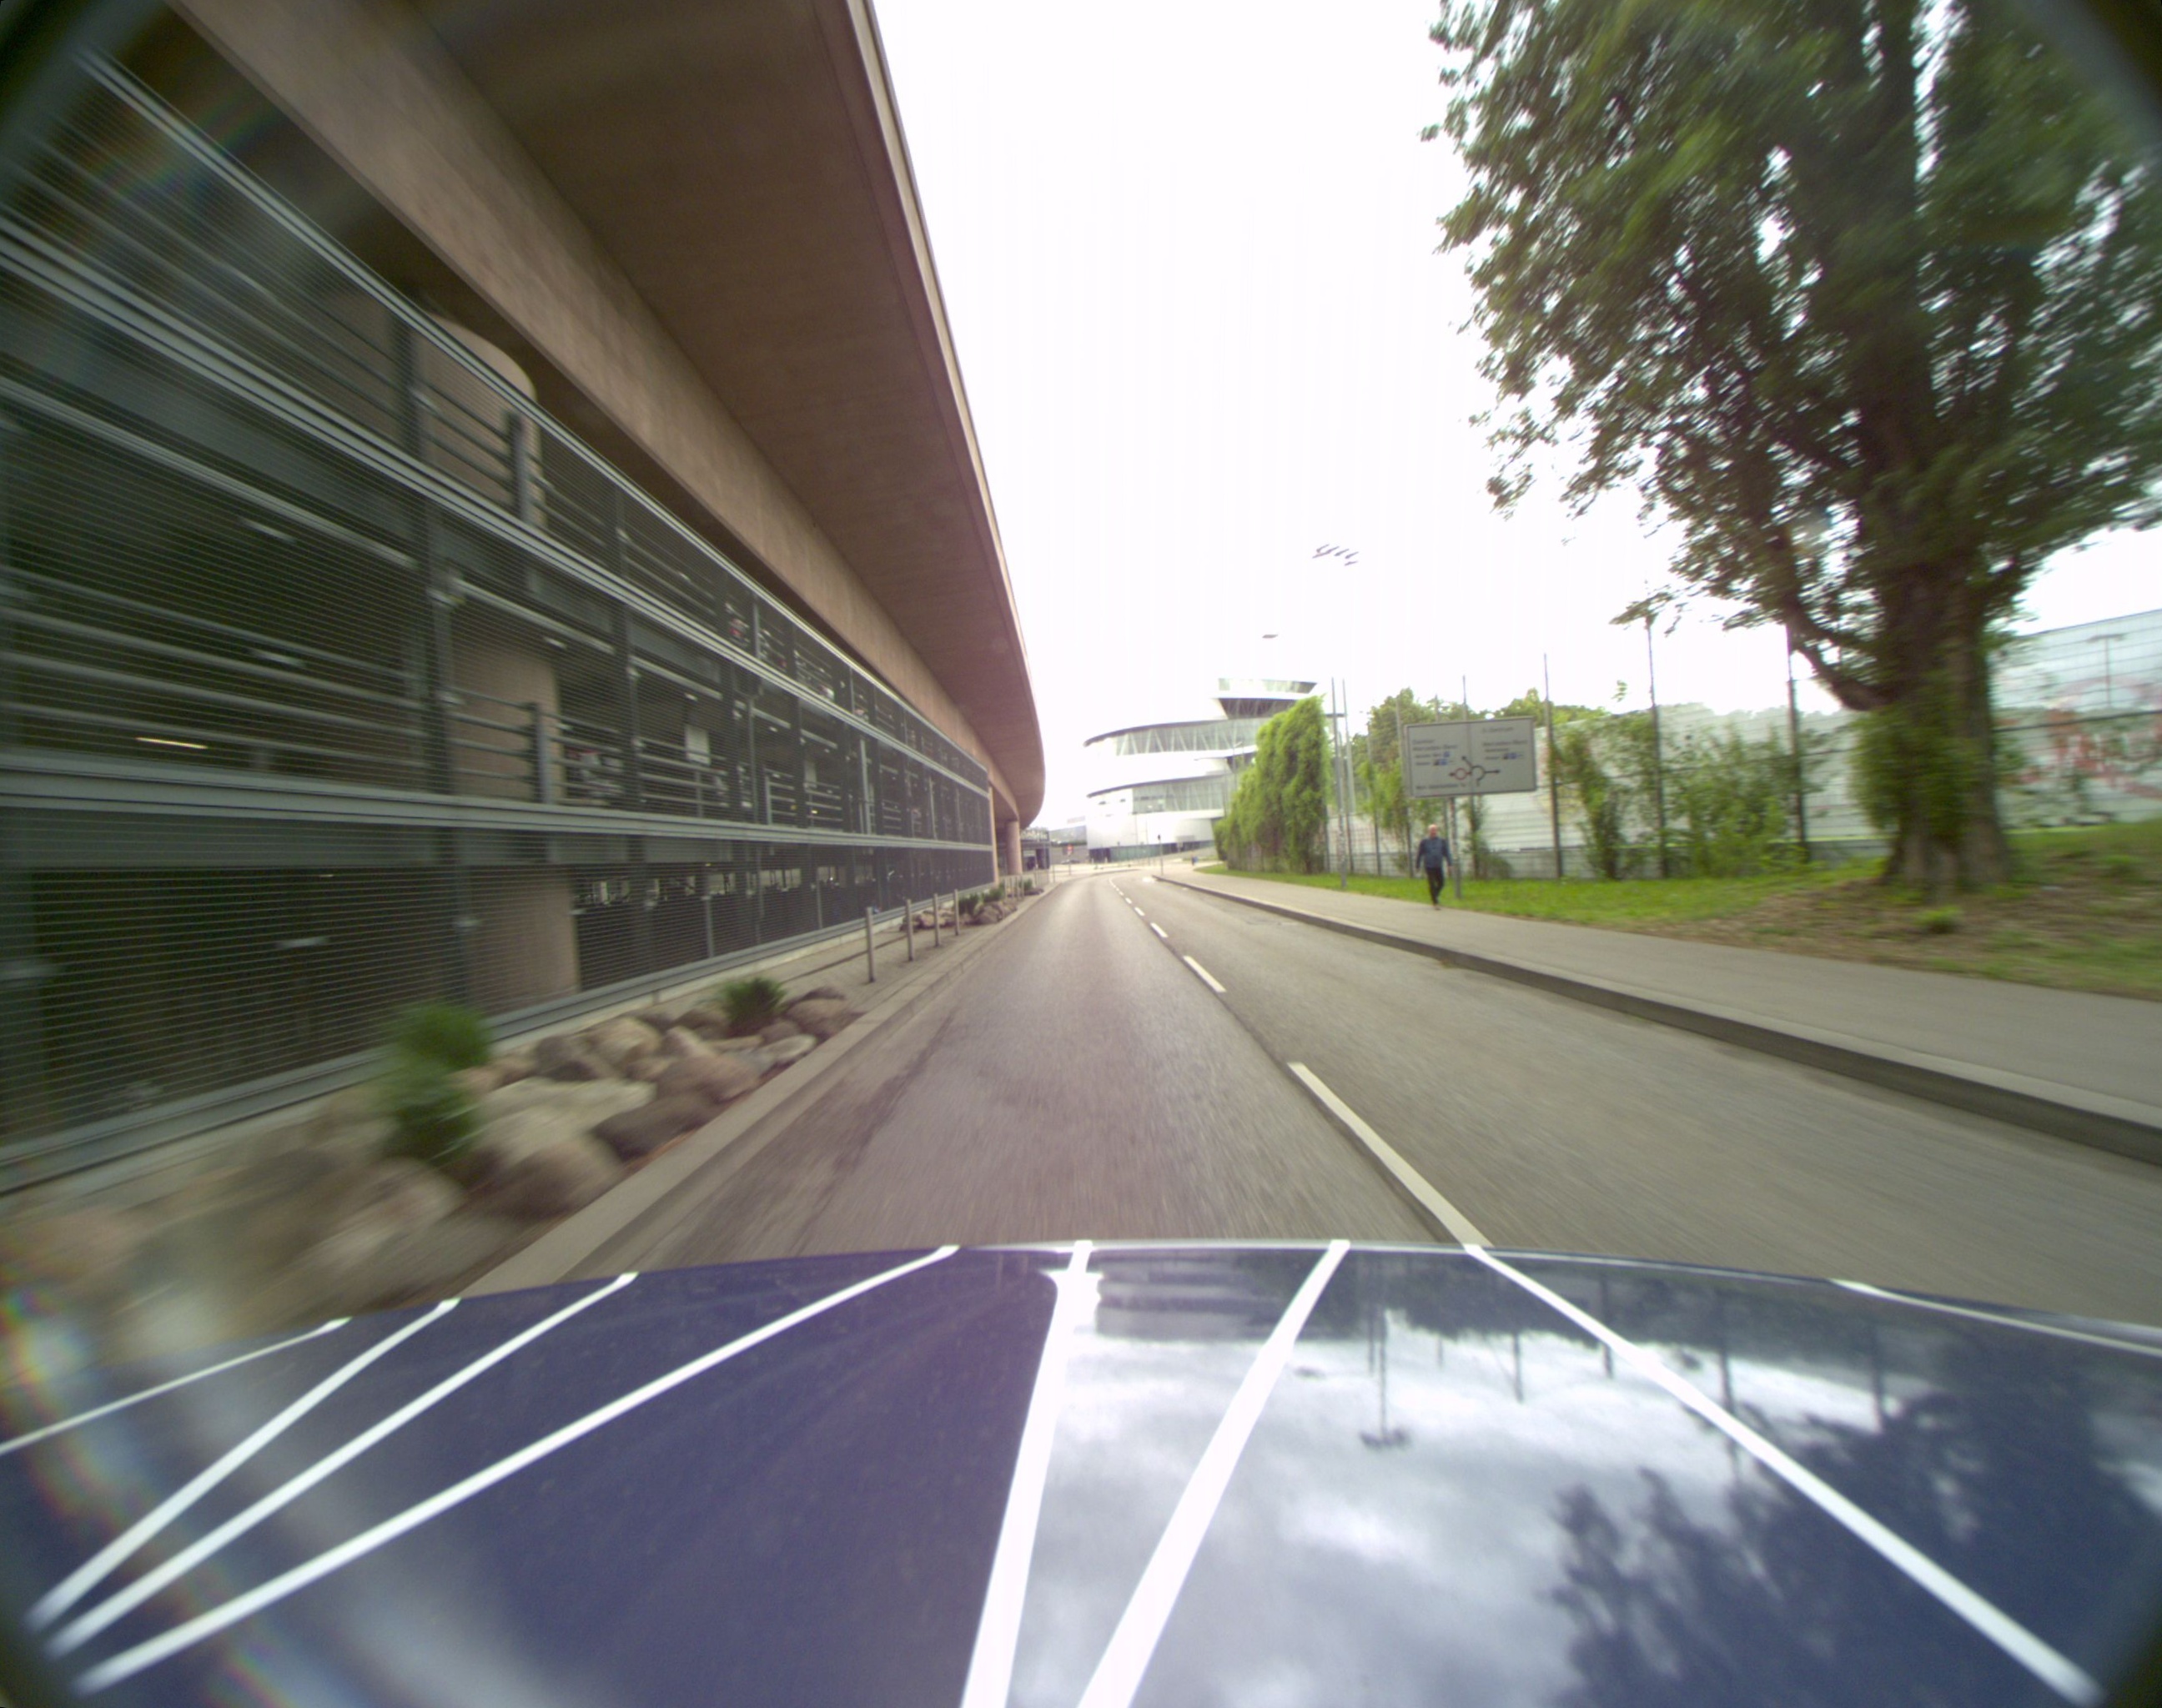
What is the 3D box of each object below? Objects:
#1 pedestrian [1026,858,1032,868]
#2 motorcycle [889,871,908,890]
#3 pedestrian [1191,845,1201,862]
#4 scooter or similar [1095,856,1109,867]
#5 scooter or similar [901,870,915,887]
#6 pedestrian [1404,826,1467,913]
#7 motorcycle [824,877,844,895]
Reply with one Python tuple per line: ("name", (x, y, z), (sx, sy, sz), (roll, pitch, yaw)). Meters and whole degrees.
("pedestrian", (-9.222, 1.571, 135.286), (0.783, 1.787, 0.864), (-3, -1, -18))
("motorcycle", (-12.923, 1.865, 53.830), (0.607, 1.295, 2.130), (-4, 0, 4))
("pedestrian", (13.983, -0.045, 92.362), (1.038, 2.001, 0.785), (-4, -1, 10))
("scooter or similar", (2.686, 0.972, 97.078), (1.649, 1.288, 0.518), (-5, -1, -8))
("scooter or similar", (-12.239, 1.743, 53.806), (0.399, 1.127, 1.252), (-4, -1, 12))
("pedestrian", (7.627, 0.339, 16.398), (0.806, 1.770, 0.920), (-4, -1, -1))
("motorcycle", (-17.745, 2.321, 54.587), (0.673, 1.212, 2.079), (-4, -1, 2))
